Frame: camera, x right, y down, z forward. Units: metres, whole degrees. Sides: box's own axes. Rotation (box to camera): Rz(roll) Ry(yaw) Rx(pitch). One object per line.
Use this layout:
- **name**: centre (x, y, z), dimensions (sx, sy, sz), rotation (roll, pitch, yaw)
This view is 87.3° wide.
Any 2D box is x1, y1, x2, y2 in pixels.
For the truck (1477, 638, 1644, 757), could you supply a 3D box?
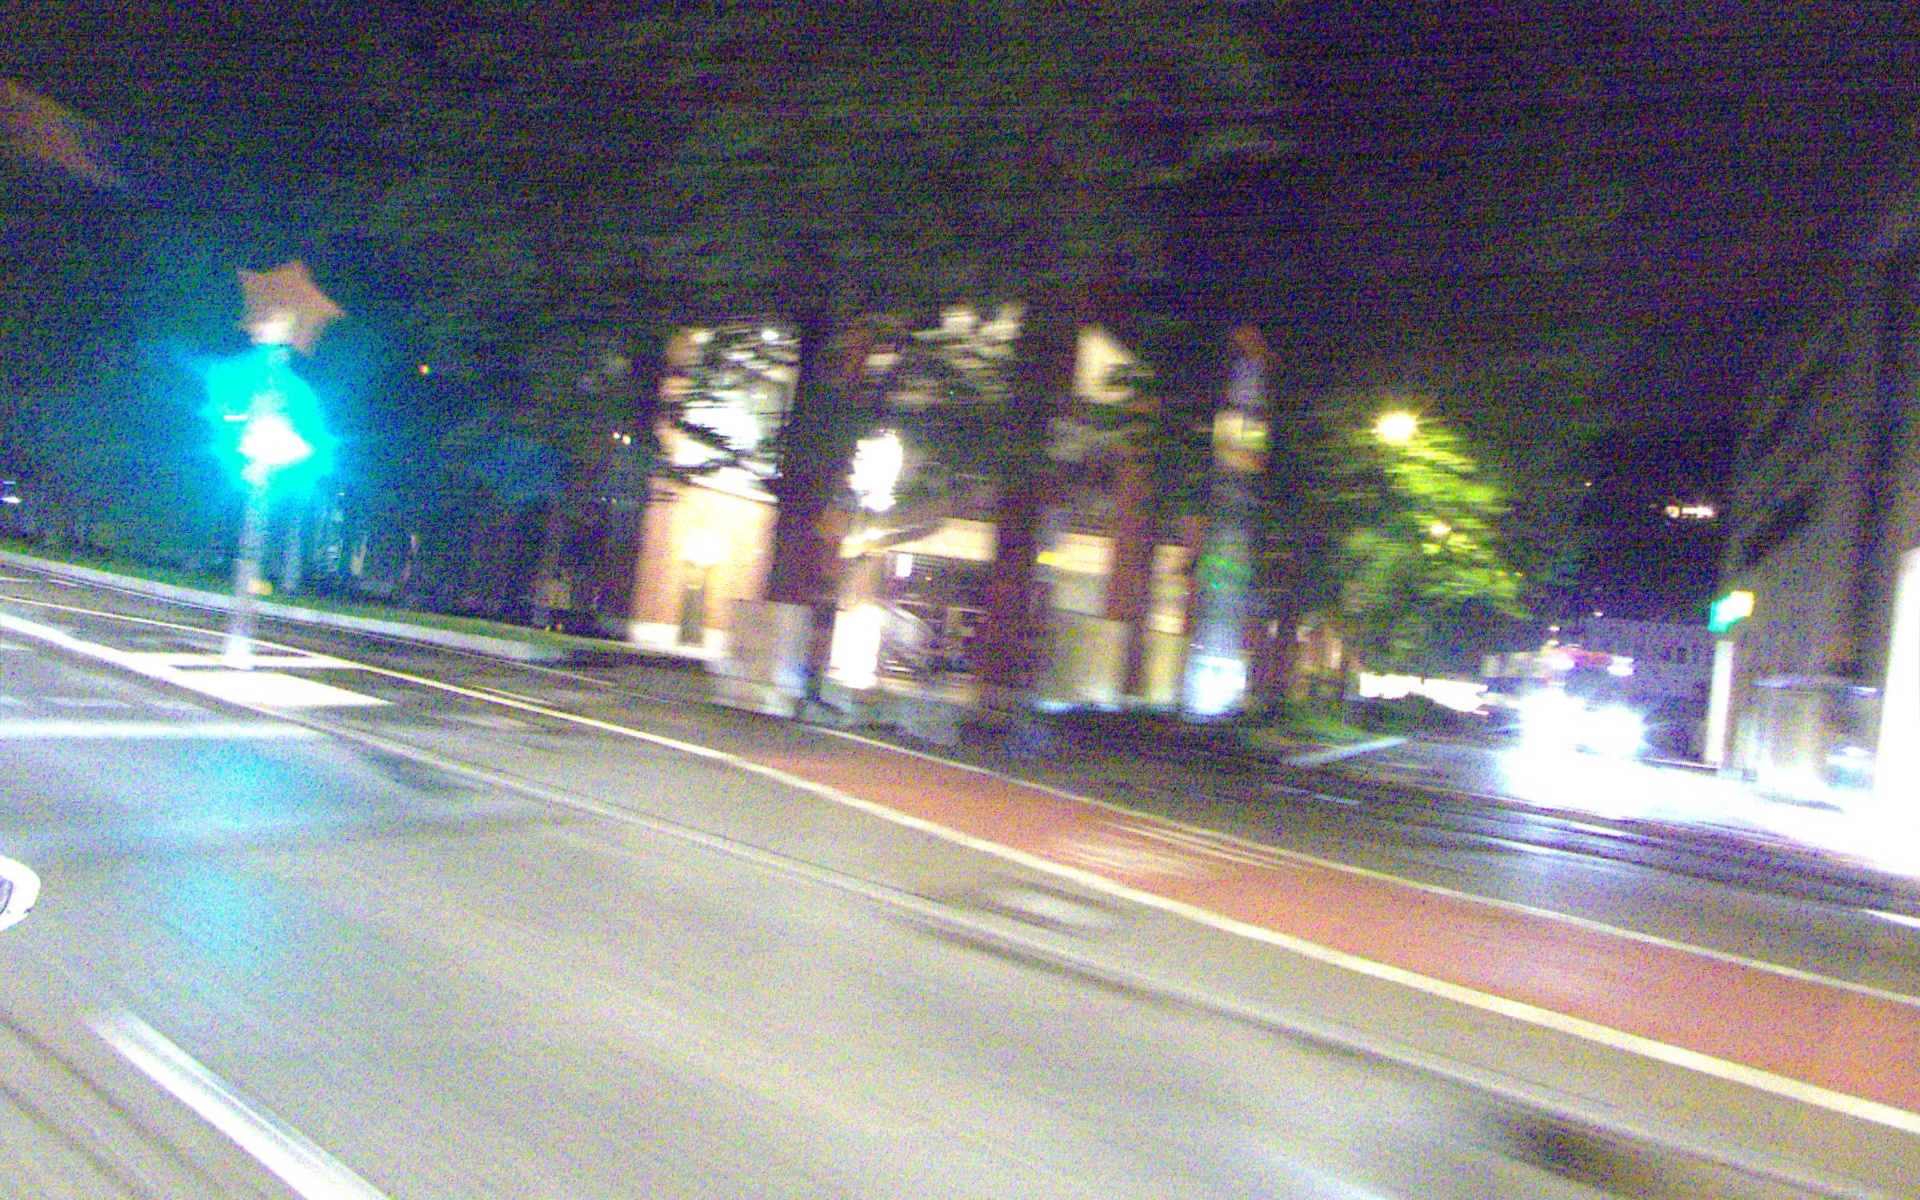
- **truck**: centre (26.408, 4.194, 45.395), dimensions (3.074, 4.030, 16.841), rotation (6, -2, 20)

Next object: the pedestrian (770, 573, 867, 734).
- **pedestrian**: centre (-1.710, 0.642, 12.212), dimensions (0.746, 1.833, 0.622), rotation (6, 0, 32)

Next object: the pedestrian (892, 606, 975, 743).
- **pedestrian**: centre (-0.336, 0.957, 12.968), dimensions (0.668, 1.658, 0.622), rotation (6, 0, 32)

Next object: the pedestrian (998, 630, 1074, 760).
- **pedestrian**: centre (0.981, 1.212, 12.910), dimensions (0.623, 1.552, 0.573), rotation (6, 0, 32)
